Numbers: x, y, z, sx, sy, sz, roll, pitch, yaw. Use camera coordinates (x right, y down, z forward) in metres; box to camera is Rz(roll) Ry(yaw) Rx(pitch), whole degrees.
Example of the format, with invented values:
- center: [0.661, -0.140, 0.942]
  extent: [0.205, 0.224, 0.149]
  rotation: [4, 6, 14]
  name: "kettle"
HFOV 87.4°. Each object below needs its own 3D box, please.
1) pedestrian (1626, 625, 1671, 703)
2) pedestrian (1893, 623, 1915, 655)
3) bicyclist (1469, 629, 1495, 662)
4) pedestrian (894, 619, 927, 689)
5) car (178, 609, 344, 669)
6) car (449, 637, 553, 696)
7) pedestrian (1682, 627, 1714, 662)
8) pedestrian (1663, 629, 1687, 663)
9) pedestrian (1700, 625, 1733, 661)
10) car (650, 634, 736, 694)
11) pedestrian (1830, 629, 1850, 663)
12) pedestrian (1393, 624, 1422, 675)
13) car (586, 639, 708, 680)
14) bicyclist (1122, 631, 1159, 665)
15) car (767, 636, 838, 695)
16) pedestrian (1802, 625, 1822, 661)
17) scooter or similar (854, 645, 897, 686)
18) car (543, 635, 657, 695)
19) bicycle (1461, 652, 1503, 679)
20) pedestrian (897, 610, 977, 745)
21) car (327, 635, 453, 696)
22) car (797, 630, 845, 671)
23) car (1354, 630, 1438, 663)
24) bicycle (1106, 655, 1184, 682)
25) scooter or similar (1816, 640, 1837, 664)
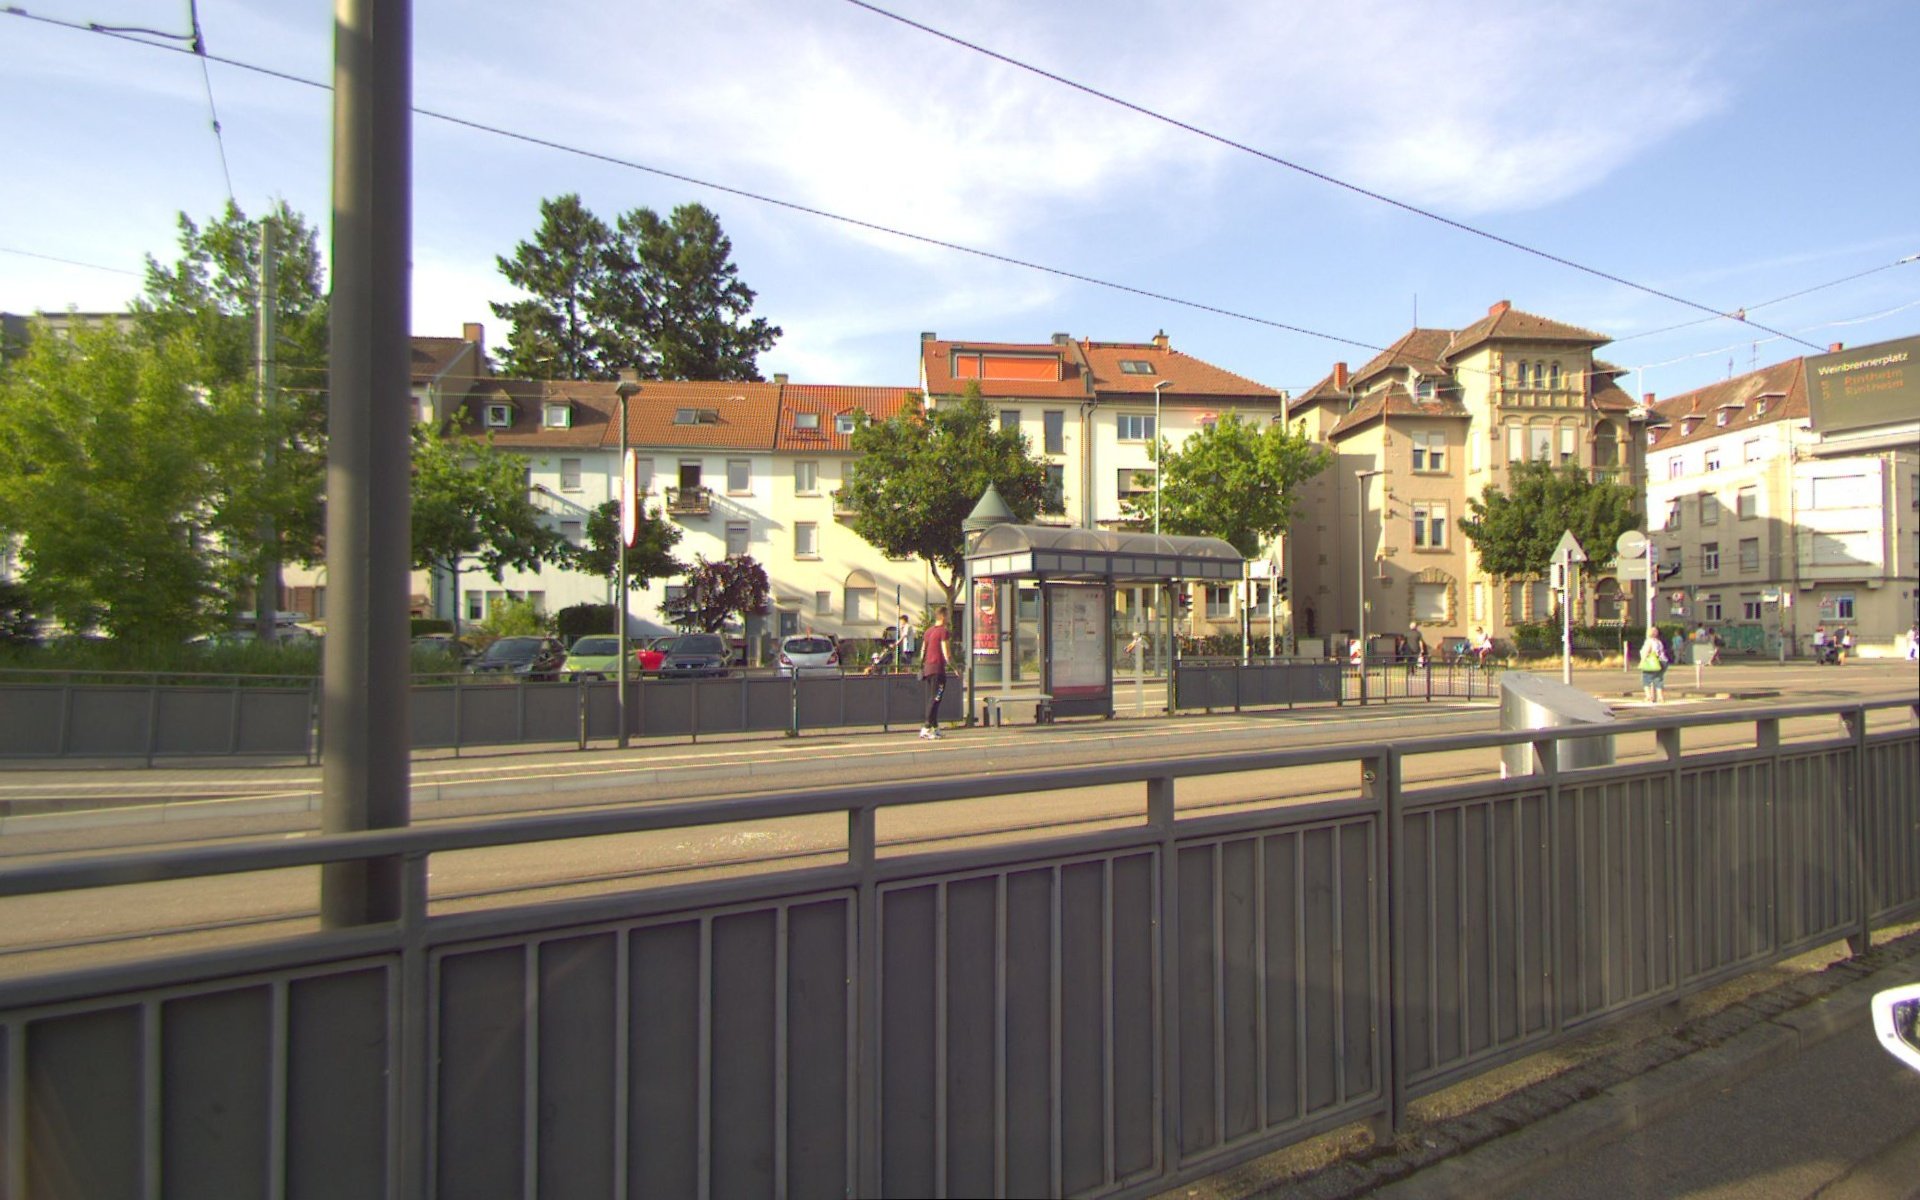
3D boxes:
- center: [14.734, 1.357, 21.504]
  extent: [0.627, 1.620, 0.608]
  rotation: [1, -2, -36]
  name: "pedestrian"
- center: [50.571, 2.074, 53.798]
  extent: [0.576, 1.682, 0.620]
  rotation: [0, -2, -14]
  name: "pedestrian"
- center: [17.203, 1.489, 33.126]
  extent: [0.673, 1.058, 0.509]
  rotation: [1, -2, -36]
  name: "bicyclist"
- center: [-1.260, 1.362, 25.519]
  extent: [0.750, 1.769, 0.547]
  rotation: [0, -2, -15]
  name: "pedestrian"
- center: [-18.652, 1.042, 27.050]
  extent: [1.813, 1.505, 3.999]
  rotation: [0, -2, -3]
  name: "car"
- center: [-11.878, 1.671, 26.264]
  extent: [1.968, 1.416, 3.985]
  rotation: [1, -2, -18]
  name: "car"
- center: [33.011, 1.987, 44.908]
  extent: [0.768, 1.572, 0.831]
  rotation: [0, -2, -8]
  name: "pedestrian"
- center: [32.501, 2.088, 45.653]
  extent: [0.702, 1.561, 0.626]
  rotation: [1, -2, -30]
  name: "pedestrian"
- center: [33.180, 1.892, 44.075]
  extent: [0.768, 1.572, 0.831]
  rotation: [0, -2, -8]
  name: "pedestrian"
- center: [-7.161, 1.678, 27.296]
  extent: [1.815, 1.505, 3.995]
  rotation: [0, -2, -9]
  name: "car"
- center: [40.092, 2.084, 45.741]
  extent: [0.540, 1.520, 0.437]
  rotation: [0, -2, -15]
  name: "pedestrian"
- center: [14.813, 1.624, 33.264]
  extent: [0.778, 1.667, 0.757]
  rotation: [-1, -2, 16]
  name: "pedestrian"
- center: [-11.221, 2.116, 36.257]
  extent: [3.927, 1.416, 1.836]
  rotation: [0, -2, -9]
  name: "car"
- center: [6.785, 1.801, 37.730]
  extent: [1.157, 1.278, 0.762]
  rotation: [1, -2, -22]
  name: "bicyclist"
- center: [-4.343, 1.761, 27.834]
  extent: [1.815, 1.505, 3.995]
  rotation: [0, -2, -9]
  name: "car"
- center: [39.397, 2.002, 46.469]
  extent: [0.601, 1.647, 0.506]
  rotation: [1, -2, -29]
  name: "pedestrian"
- center: [-2.121, 1.636, 25.285]
  extent: [1.006, 1.001, 0.556]
  rotation: [0, -2, -15]
  name: "scooter or similar"
- center: [-9.690, 1.706, 27.348]
  extent: [1.813, 1.505, 3.999]
  rotation: [0, -2, -3]
  name: "car"
- center: [17.216, 2.161, 33.127]
  extent: [1.670, 0.845, 0.522]
  rotation: [1, -2, -36]
  name: "bicycle"
- center: [-0.303, 1.014, 13.239]
  extent: [0.867, 1.706, 0.551]
  rotation: [1, -5, -30]
  name: "pedestrian"
- center: [-14.399, 1.595, 25.604]
  extent: [1.968, 1.416, 3.985]
  rotation: [1, -2, -18]
  name: "car"
- center: [-6.053, 2.192, 44.217]
  extent: [1.962, 1.684, 3.997]
  rotation: [0, -2, -6]
  name: "car"
- center: [20.375, 2.168, 47.137]
  extent: [1.732, 1.327, 4.111]
  rotation: [2, 0, -7]
  name: "car"
- center: [6.965, 2.565, 37.773]
  extent: [2.954, 0.926, 0.783]
  rotation: [1, -2, -22]
  name: "bicycle"
- center: [40.227, 2.395, 46.634]
  extent: [0.675, 1.093, 0.541]
  rotation: [2, 0, -30]
  name: "scooter or similar"
